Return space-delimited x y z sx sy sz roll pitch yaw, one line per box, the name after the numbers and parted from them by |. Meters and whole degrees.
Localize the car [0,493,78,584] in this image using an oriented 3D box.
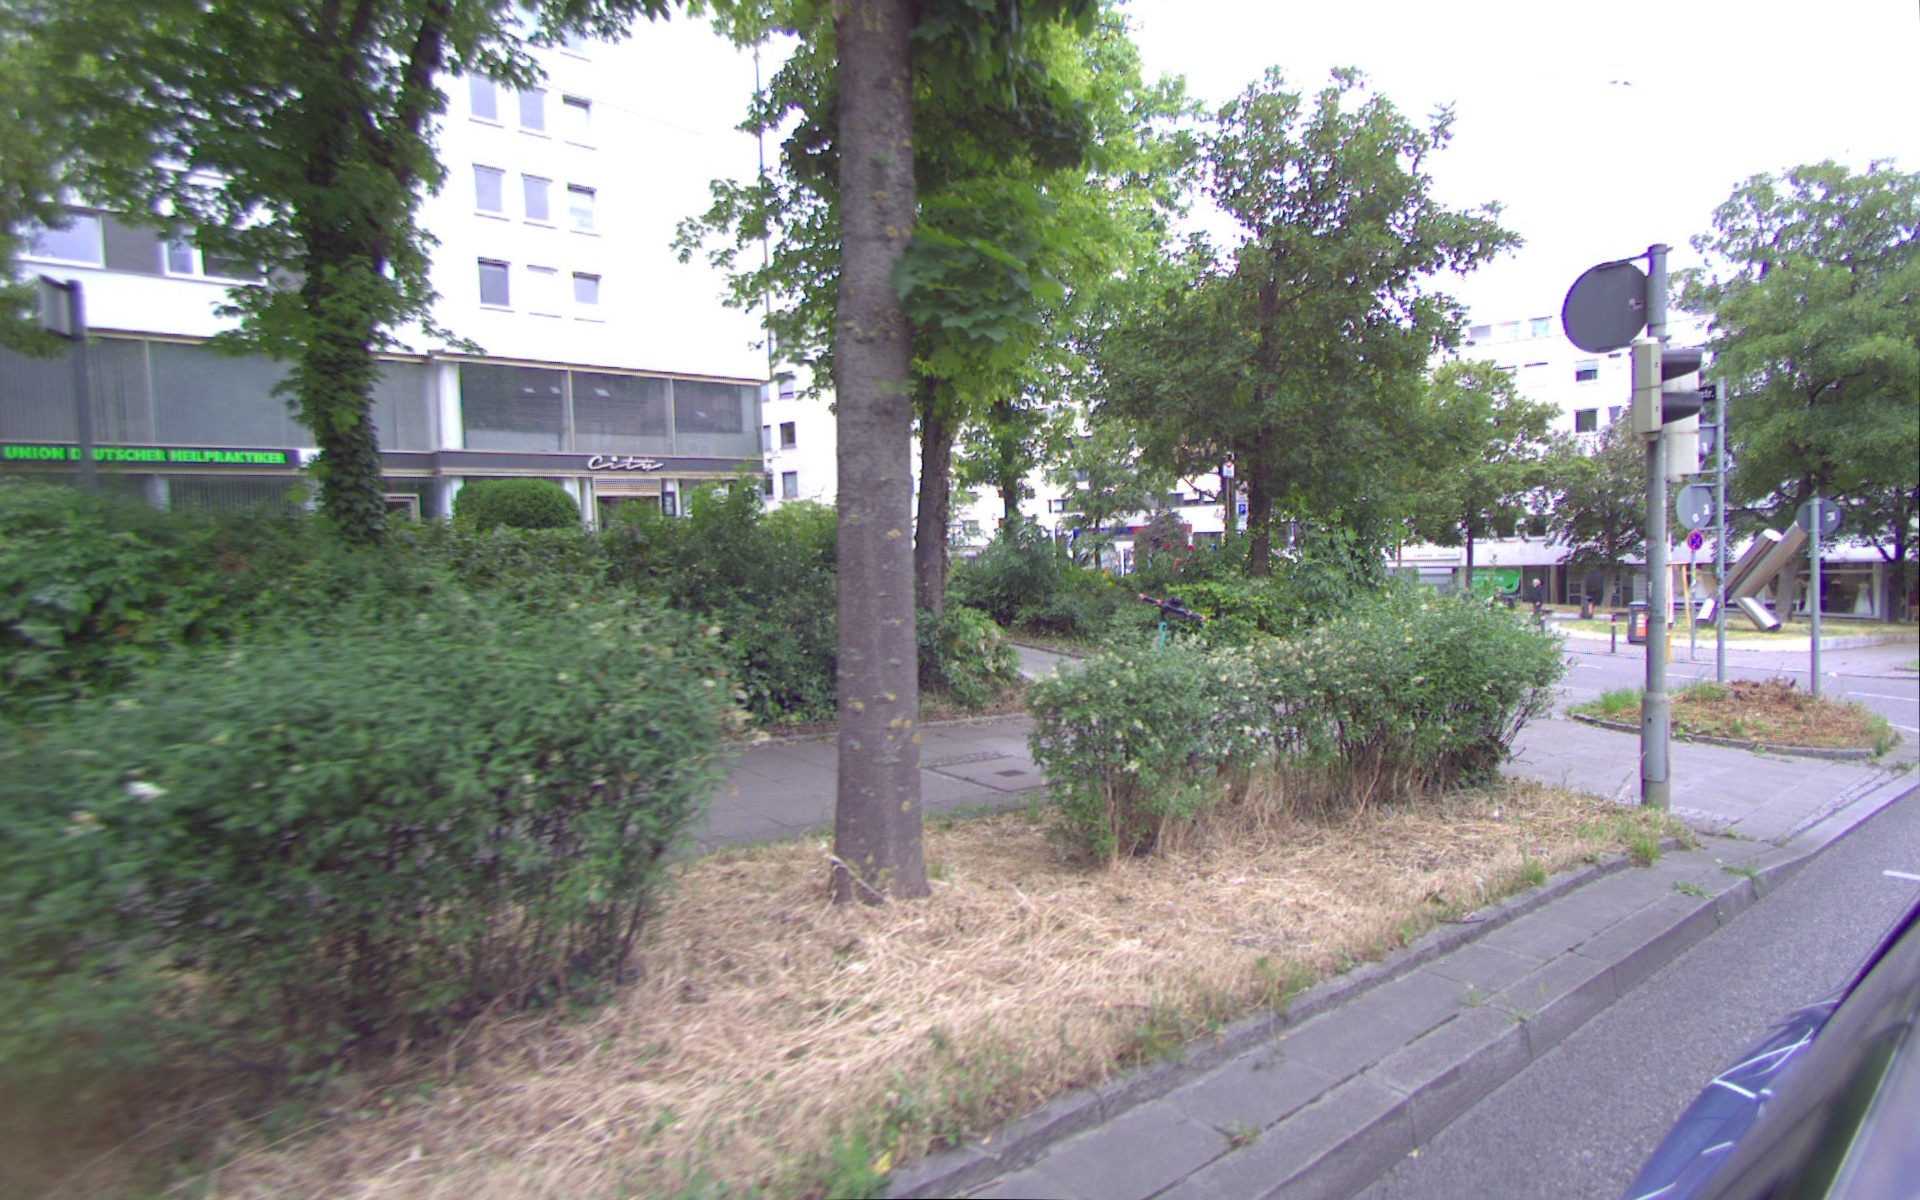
-18.114 -1.240 19.330 1.800 1.589 3.998 0 4 -40 | car

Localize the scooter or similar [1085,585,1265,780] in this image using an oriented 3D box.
1.569 0.512 7.217 0.629 1.225 1.536 2 1 38 | scooter or similar

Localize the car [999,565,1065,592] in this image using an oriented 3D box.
5.475 -1.669 77.443 4.768 1.969 2.194 2 2 43 | car

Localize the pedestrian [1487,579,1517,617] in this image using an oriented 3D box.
19.291 -0.075 36.027 0.671 1.308 0.657 0 1 -27 | pedestrian

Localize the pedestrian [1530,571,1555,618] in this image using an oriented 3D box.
20.540 -0.195 35.673 0.721 1.622 0.784 1 1 30 | pedestrian

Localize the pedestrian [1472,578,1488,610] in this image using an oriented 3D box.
25.043 -0.287 48.753 0.521 1.552 0.671 1 1 14 | pedestrian
